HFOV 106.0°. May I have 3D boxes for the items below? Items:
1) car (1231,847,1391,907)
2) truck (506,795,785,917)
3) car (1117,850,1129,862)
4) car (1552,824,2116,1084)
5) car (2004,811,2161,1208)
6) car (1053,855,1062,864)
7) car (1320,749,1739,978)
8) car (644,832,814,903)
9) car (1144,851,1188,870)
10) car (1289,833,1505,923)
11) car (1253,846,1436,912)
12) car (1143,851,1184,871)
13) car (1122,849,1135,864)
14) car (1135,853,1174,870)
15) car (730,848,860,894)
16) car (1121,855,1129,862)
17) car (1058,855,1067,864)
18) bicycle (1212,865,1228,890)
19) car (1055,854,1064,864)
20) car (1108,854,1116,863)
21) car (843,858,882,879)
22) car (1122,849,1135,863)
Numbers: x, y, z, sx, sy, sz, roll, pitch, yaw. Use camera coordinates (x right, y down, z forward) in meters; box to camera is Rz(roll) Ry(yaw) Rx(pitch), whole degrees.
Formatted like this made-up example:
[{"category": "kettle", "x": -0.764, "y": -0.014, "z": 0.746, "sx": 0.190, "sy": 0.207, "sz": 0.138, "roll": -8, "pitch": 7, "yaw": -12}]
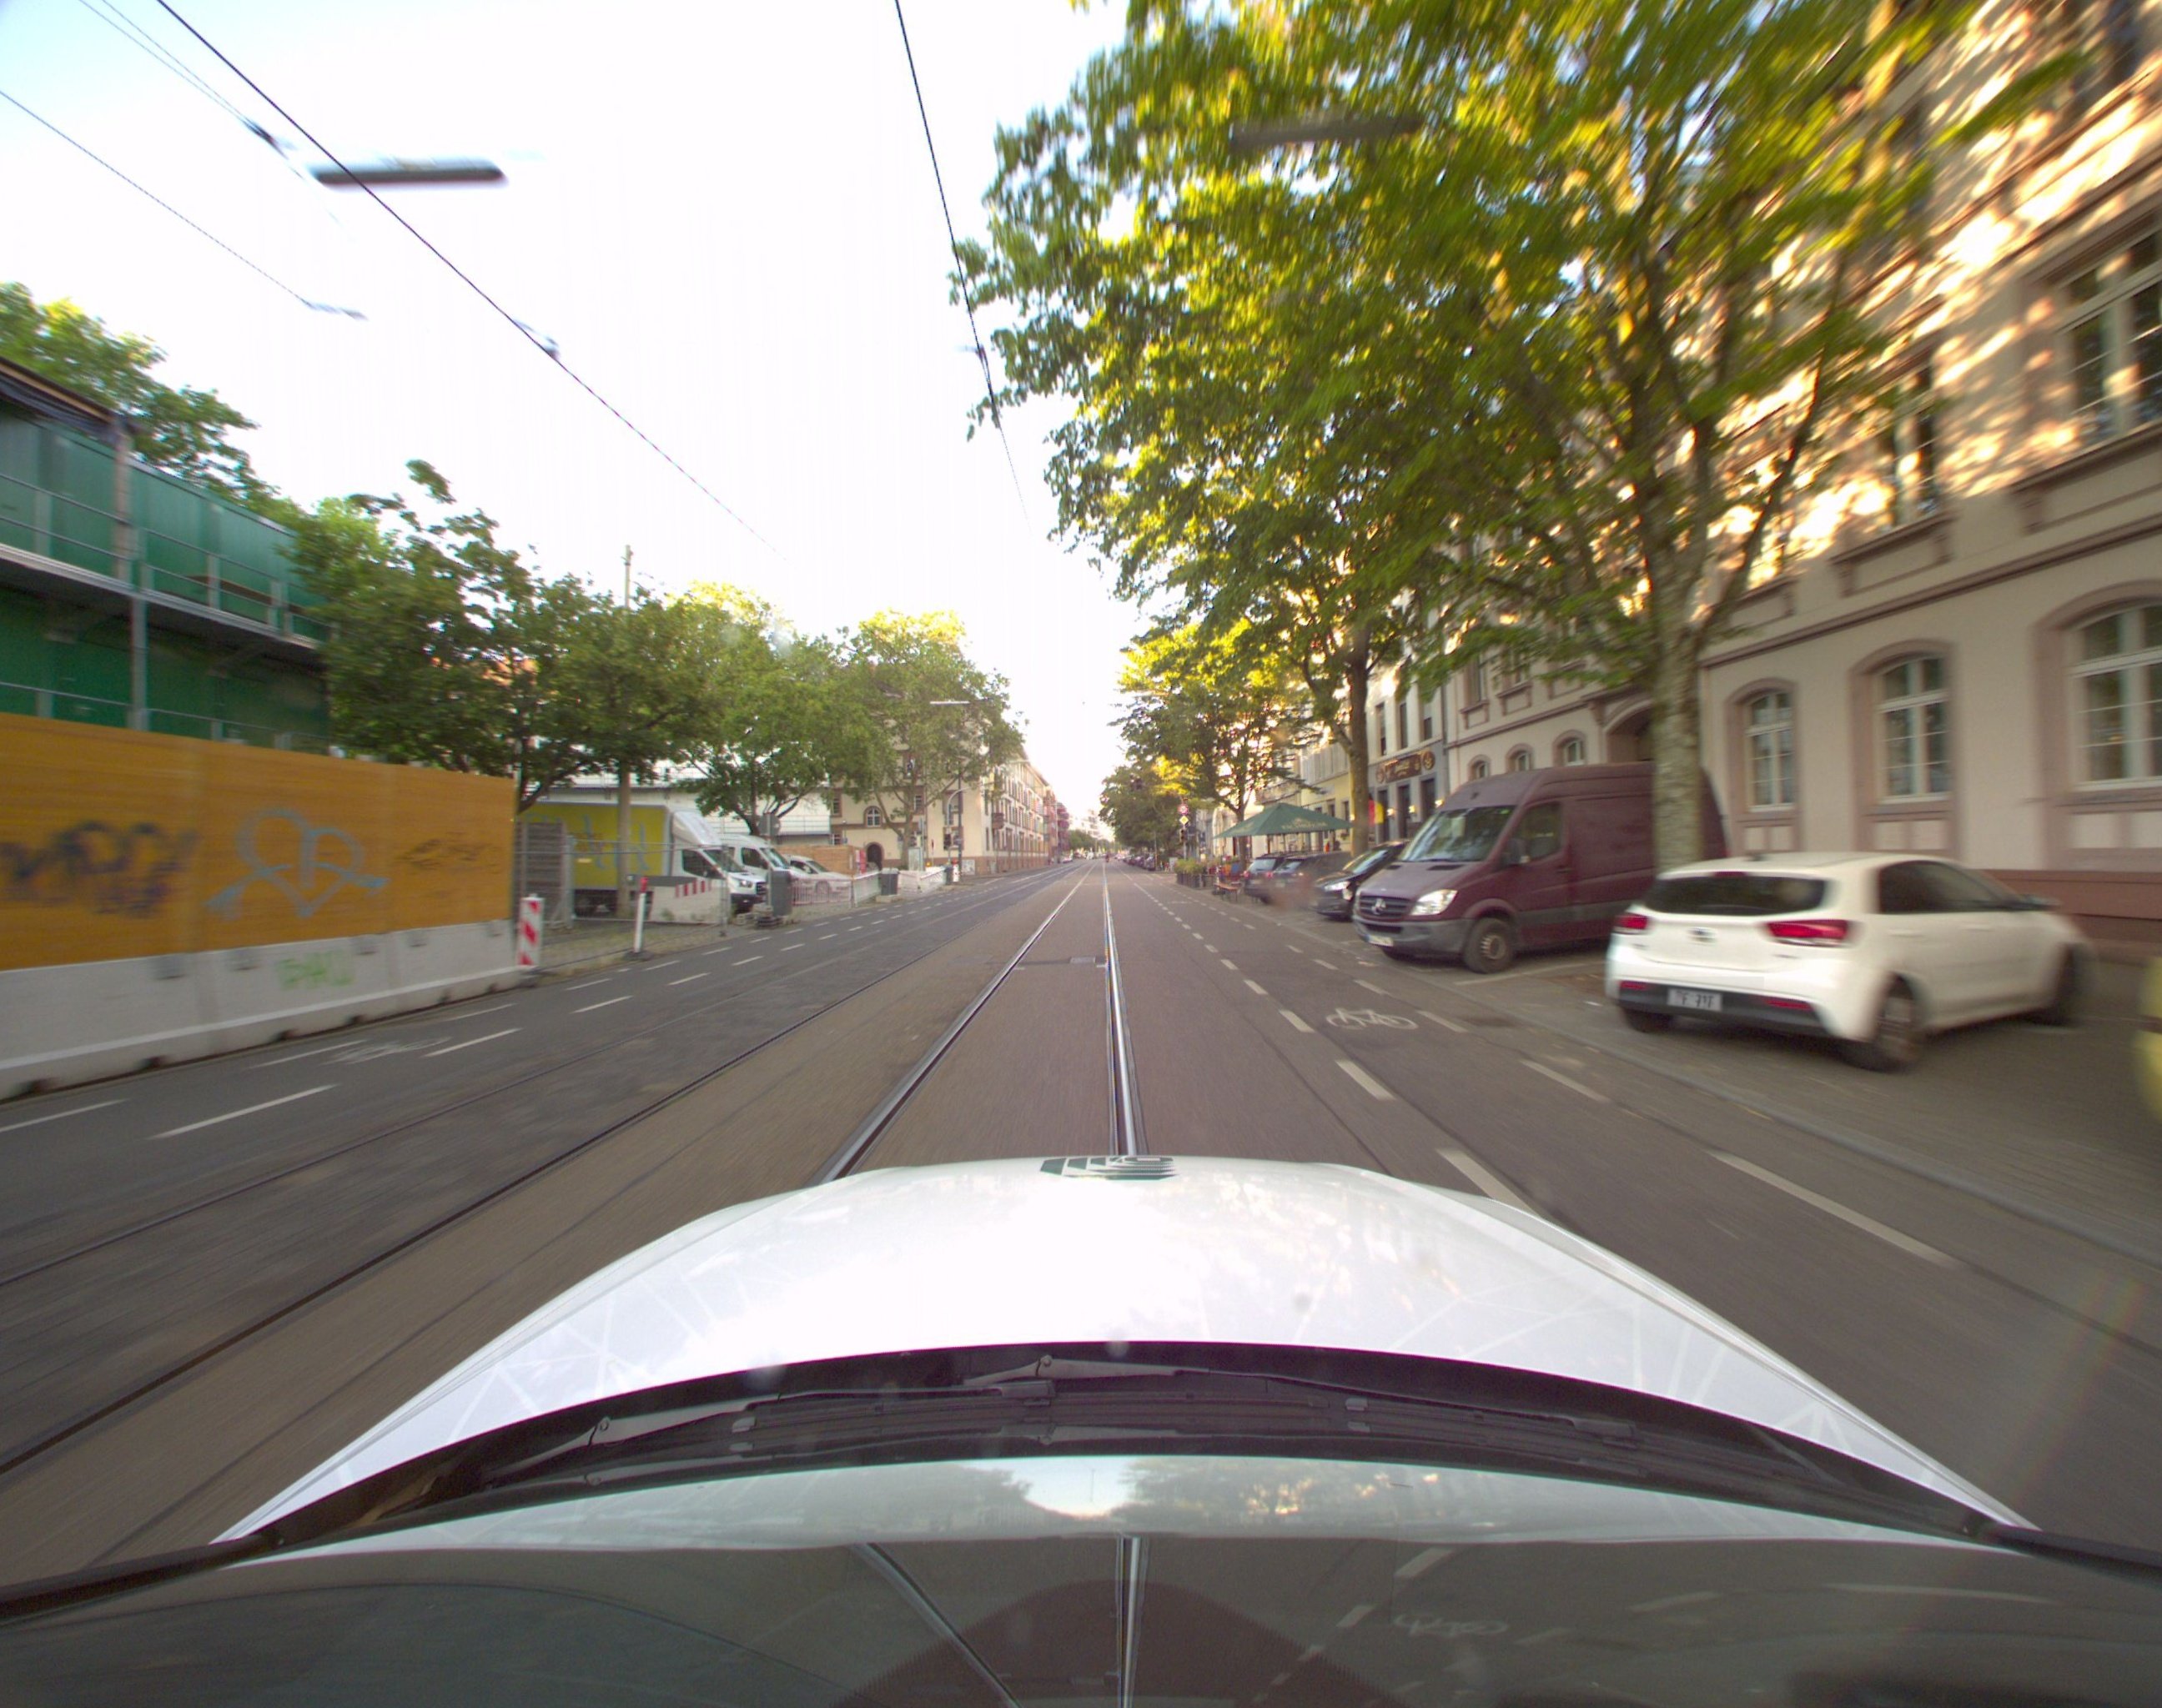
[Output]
[{"category": "car", "x": 6.781, "y": 0.648, "z": 24.069, "sx": 4.194, "sy": 1.498, "sz": 1.993, "roll": -3, "pitch": -1, "yaw": -23}, {"category": "truck", "x": -13.037, "y": 0.058, "z": 24.839, "sx": 7.039, "sy": 3.480, "sz": 2.539, "roll": 0, "pitch": 0, "yaw": -3}, {"category": "car", "x": 7.016, "y": 0.306, "z": 135.243, "sx": 1.891, "sy": 2.013, "sz": 4.001, "roll": -1, "pitch": 0, "yaw": 1}, {"category": "car", "x": 6.199, "y": 0.628, "z": 6.752, "sx": 3.967, "sy": 1.486, "sz": 1.906, "roll": -3, "pitch": -1, "yaw": -23}, {"category": "car", "x": 6.335, "y": 0.525, "z": 2.836, "sx": 3.935, "sy": 1.619, "sz": 1.921, "roll": -3, "pitch": -1, "yaw": 1}, {"category": "car", "x": -5.181, "y": 1.170, "z": 179.381, "sx": 1.891, "sy": 2.013, "sz": 4.001, "roll": -1, "pitch": 0, "yaw": 1}, {"category": "car", "x": 6.222, "y": 0.044, "z": 11.438, "sx": 5.105, "sy": 2.642, "sz": 2.011, "roll": -3, "pitch": -1, "yaw": -16}, {"category": "car", "x": -13.134, "y": 0.479, "z": 30.676, "sx": 5.384, "sy": 2.558, "sz": 2.226, "roll": 0, "pitch": 0, "yaw": -2}, {"category": "car", "x": 7.634, "y": 0.587, "z": 73.450, "sx": 3.872, "sy": 1.592, "sz": 1.862, "roll": -2, "pitch": 0, "yaw": 2}, {"category": "car", "x": 6.845, "y": 0.498, "z": 17.877, "sx": 4.006, "sy": 1.708, "sz": 1.814, "roll": -2, "pitch": -1, "yaw": -5}, {"category": "car", "x": 6.942, "y": 0.637, "z": 21.605, "sx": 4.182, "sy": 1.462, "sz": 1.998, "roll": -3, "pitch": -1, "yaw": -15}, {"category": "car", "x": 7.948, "y": 0.709, "z": 78.867, "sx": 3.872, "sy": 1.848, "sz": 1.862, "roll": -1, "pitch": -1, "yaw": 2}, {"category": "car", "x": 6.539, "y": 0.364, "z": 112.497, "sx": 1.715, "sy": 2.013, "sz": 4.001, "roll": -1, "pitch": 0, "yaw": 1}, {"category": "car", "x": 7.567, "y": 0.768, "z": 83.731, "sx": 3.872, "sy": 1.661, "sz": 1.862, "roll": -1, "pitch": -1, "yaw": 2}, {"category": "car", "x": -12.765, "y": 0.735, "z": 36.532, "sx": 5.002, "sy": 1.945, "sz": 2.230, "roll": 1, "pitch": 0, "yaw": 5}, {"category": "car", "x": 11.381, "y": 1.085, "z": 210.005, "sx": 1.956, "sy": 1.718, "sz": 4.001, "roll": -1, "pitch": 0, "yaw": 1}, {"category": "car", "x": -4.374, "y": 1.312, "z": 189.572, "sx": 1.891, "sy": 2.013, "sz": 4.001, "roll": -1, "pitch": 0, "yaw": 1}, {"category": "bicycle", "x": 6.003, "y": 1.007, "z": 35.149, "sx": 0.417, "sy": 1.015, "sz": 1.830, "roll": -1, "pitch": 0, "yaw": 2}, {"category": "car", "x": -4.794, "y": 1.059, "z": 184.022, "sx": 1.891, "sy": 2.178, "sz": 4.001, "roll": -1, "pitch": 0, "yaw": 1}, {"category": "car", "x": 7.474, "y": 1.051, "z": 198.673, "sx": 1.891, "sy": 2.013, "sz": 4.001, "roll": -1, "pitch": 0, "yaw": 1}, {"category": "car", "x": -17.670, "y": 1.147, "z": 66.124, "sx": 1.905, "sy": 1.640, "sz": 4.119, "roll": -1, "pitch": -1, "yaw": 1}, {"category": "car", "x": 7.116, "y": 0.320, "z": 122.168, "sx": 1.798, "sy": 2.013, "sz": 4.001, "roll": -1, "pitch": 0, "yaw": 1}]
